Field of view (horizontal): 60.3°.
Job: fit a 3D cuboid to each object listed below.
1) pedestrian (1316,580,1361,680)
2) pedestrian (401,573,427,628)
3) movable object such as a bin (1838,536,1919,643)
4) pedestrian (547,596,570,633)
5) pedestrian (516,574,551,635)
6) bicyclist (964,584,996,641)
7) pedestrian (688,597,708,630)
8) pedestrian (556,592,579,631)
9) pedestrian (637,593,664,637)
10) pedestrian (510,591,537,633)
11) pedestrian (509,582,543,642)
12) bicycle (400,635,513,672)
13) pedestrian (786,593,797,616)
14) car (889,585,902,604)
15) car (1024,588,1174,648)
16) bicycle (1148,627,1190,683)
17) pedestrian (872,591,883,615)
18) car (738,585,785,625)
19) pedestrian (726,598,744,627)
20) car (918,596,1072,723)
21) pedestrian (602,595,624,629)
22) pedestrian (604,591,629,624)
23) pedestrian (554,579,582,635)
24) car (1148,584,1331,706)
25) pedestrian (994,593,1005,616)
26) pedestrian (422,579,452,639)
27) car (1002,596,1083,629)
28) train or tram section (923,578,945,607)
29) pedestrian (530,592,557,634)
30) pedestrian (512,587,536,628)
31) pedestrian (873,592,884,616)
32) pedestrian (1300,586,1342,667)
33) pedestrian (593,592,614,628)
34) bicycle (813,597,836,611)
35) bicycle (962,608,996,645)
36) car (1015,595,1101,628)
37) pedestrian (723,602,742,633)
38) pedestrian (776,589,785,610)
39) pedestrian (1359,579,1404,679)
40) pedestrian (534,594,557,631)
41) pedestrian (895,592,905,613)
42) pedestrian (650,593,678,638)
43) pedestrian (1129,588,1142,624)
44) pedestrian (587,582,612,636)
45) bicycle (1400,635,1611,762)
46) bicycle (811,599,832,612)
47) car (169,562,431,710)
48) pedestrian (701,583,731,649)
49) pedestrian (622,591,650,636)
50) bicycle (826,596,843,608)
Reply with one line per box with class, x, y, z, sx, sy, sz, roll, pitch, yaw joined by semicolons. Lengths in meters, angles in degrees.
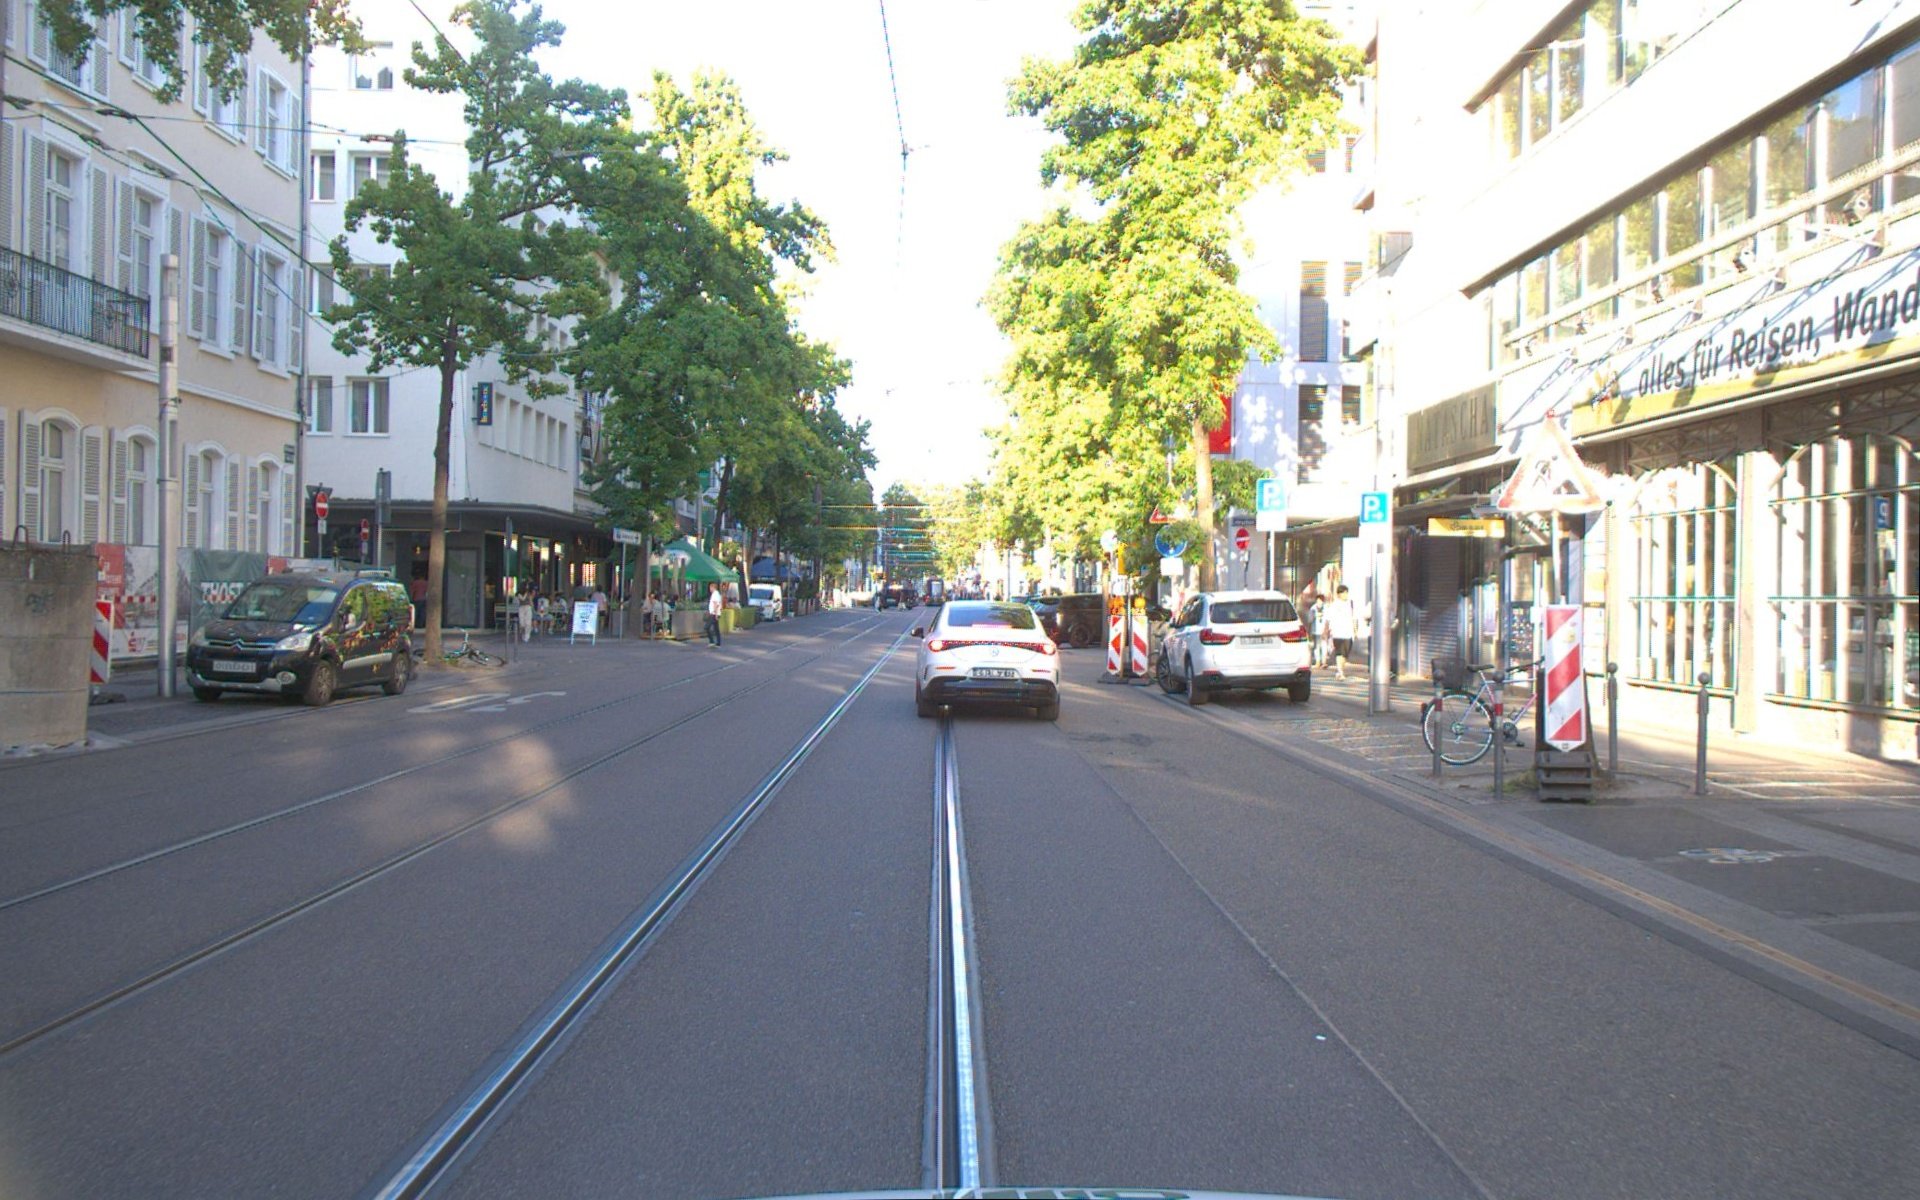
pedestrian;7.192;0.564;31.459;0.691;1.862;0.634;1;0;-1
pedestrian;-16.429;0.013;49.792;0.396;1.632;0.619;1;0;33
movable object such as a bin;29.479;-0.237;46.521;8.010;2.960;2.826;1;0;18
pedestrian;-13.419;0.477;55.297;0.541;1.182;0.687;2;0;0
pedestrian;-13.002;0.138;50.447;0.670;1.847;0.764;2;0;14
bicyclist;0.587;0.361;48.441;0.761;1.641;0.913;3;0;8
pedestrian;-10.358;0.543;65.330;0.606;1.266;0.697;4;0;-1
pedestrian;-13.653;0.381;57.498;0.590;1.321;0.687;2;0;0
pedestrian;-10.076;0.489;53.861;0.675;1.410;0.807;2;0;0
pedestrian;-13.856;0.378;52.510;0.631;1.291;0.738;2;0;0
pedestrian;-12.258;0.333;46.744;0.692;1.685;0.967;1;1;1
bicycle;-9.781;1.038;32.199;1.758;0.619;1.282;2;0;2
pedestrian;-10.076;0.269;98.795;0.538;1.380;0.582;2;0;-2
car;-10.156;-0.896;261.257;1.953;2.948;5.274;0;0;0
car;4.603;0.571;54.591;4.603;1.794;1.974;-2;0;-30
bicycle;3.998;1.047;31.763;0.483;0.999;1.929;1;0;-3
pedestrian;-5.461;0.215;109.299;0.609;1.535;0.833;3;0;0
car;-10.254;0.226;85.534;1.759;1.897;4.553;3;0;0
pedestrian;-9.871;0.553;72.616;0.643;1.214;0.798;4;0;-1
car;0.398;0.715;22.019;1.819;1.481;4.174;2;0;-1
pedestrian;-13.127;0.461;62.579;0.656;1.264;0.798;2;0;-1
pedestrian;-13.720;0.314;66.096;0.761;1.258;0.945;4;0;-1
pedestrian;-12.706;0.217;53.571;0.664;1.787;0.697;2;0;1
car;4.498;0.676;27.393;1.982;1.768;4.905;-2;0;-2
pedestrian;3.230;0.334;134.848;0.824;1.832;0.790;2;0;0
pedestrian;-14.781;0.249;46.747;0.783;1.642;0.862;1;2;-18
car;4.575;0.683;91.303;4.301;1.681;1.676;-2;0;-32
train or tram section;-3.269;-0.944;210.662;2.639;3.578;12.543;0;0;-1
pedestrian;-13.208;0.406;52.443;0.614;1.304;0.727;2;0;0
pedestrian;-13.620;0.237;51.681;0.541;1.257;0.687;2;0;0
pedestrian;-5.422;0.243;110.344;0.609;1.577;0.852;3;0;0
pedestrian;8.734;0.640;40.059;0.816;1.930;0.918;0;0;2
pedestrian;-13.736;0.371;63.714;0.606;1.332;0.697;4;0;-1
bicycle;-10.831;0.323;132.172;1.754;1.096;0.377;2;0;-5
bicycle;0.565;0.767;48.410;0.703;1.012;2.060;3;0;8
car;5.189;0.598;87.382;4.195;1.615;1.864;-2;0;-32
pedestrian;-9.866;0.755;71.629;0.643;1.266;0.872;4;0;-1
pedestrian;-13.342;-0.053;123.040;0.585;1.559;0.671;2;0;0
pedestrian;7.992;0.548;31.407;0.674;1.862;0.634;1;0;-1
pedestrian;-13.838;0.413;55.262;0.541;1.182;0.687;2;0;0
pedestrian;-5.299;0.241;146.221;0.771;1.832;0.844;1;0;0
pedestrian;-9.491;0.501;53.047;0.675;1.410;0.807;2;0;0
pedestrian;8.974;0.312;84.549;0.545;1.781;0.525;-2;0;-1
pedestrian;-11.769;0.292;54.002;0.606;1.699;0.697;2;0;-1
bicycle;5.222;0.935;15.932;1.774;1.154;0.841;-1;-1;7
bicycle;-10.841;0.410;129.096;1.562;0.947;0.377;2;0;6
car;-9.268;0.465;23.668;1.819;1.864;4.559;2;0;1
pedestrian;-6.718;0.427;45.488;0.781;1.771;0.864;1;1;-8
pedestrian;-10.369;0.419;52.972;0.675;1.410;0.807;2;0;0
bicycle;-11.518;0.195;151.665;1.466;1.047;0.344;2;0;-11
